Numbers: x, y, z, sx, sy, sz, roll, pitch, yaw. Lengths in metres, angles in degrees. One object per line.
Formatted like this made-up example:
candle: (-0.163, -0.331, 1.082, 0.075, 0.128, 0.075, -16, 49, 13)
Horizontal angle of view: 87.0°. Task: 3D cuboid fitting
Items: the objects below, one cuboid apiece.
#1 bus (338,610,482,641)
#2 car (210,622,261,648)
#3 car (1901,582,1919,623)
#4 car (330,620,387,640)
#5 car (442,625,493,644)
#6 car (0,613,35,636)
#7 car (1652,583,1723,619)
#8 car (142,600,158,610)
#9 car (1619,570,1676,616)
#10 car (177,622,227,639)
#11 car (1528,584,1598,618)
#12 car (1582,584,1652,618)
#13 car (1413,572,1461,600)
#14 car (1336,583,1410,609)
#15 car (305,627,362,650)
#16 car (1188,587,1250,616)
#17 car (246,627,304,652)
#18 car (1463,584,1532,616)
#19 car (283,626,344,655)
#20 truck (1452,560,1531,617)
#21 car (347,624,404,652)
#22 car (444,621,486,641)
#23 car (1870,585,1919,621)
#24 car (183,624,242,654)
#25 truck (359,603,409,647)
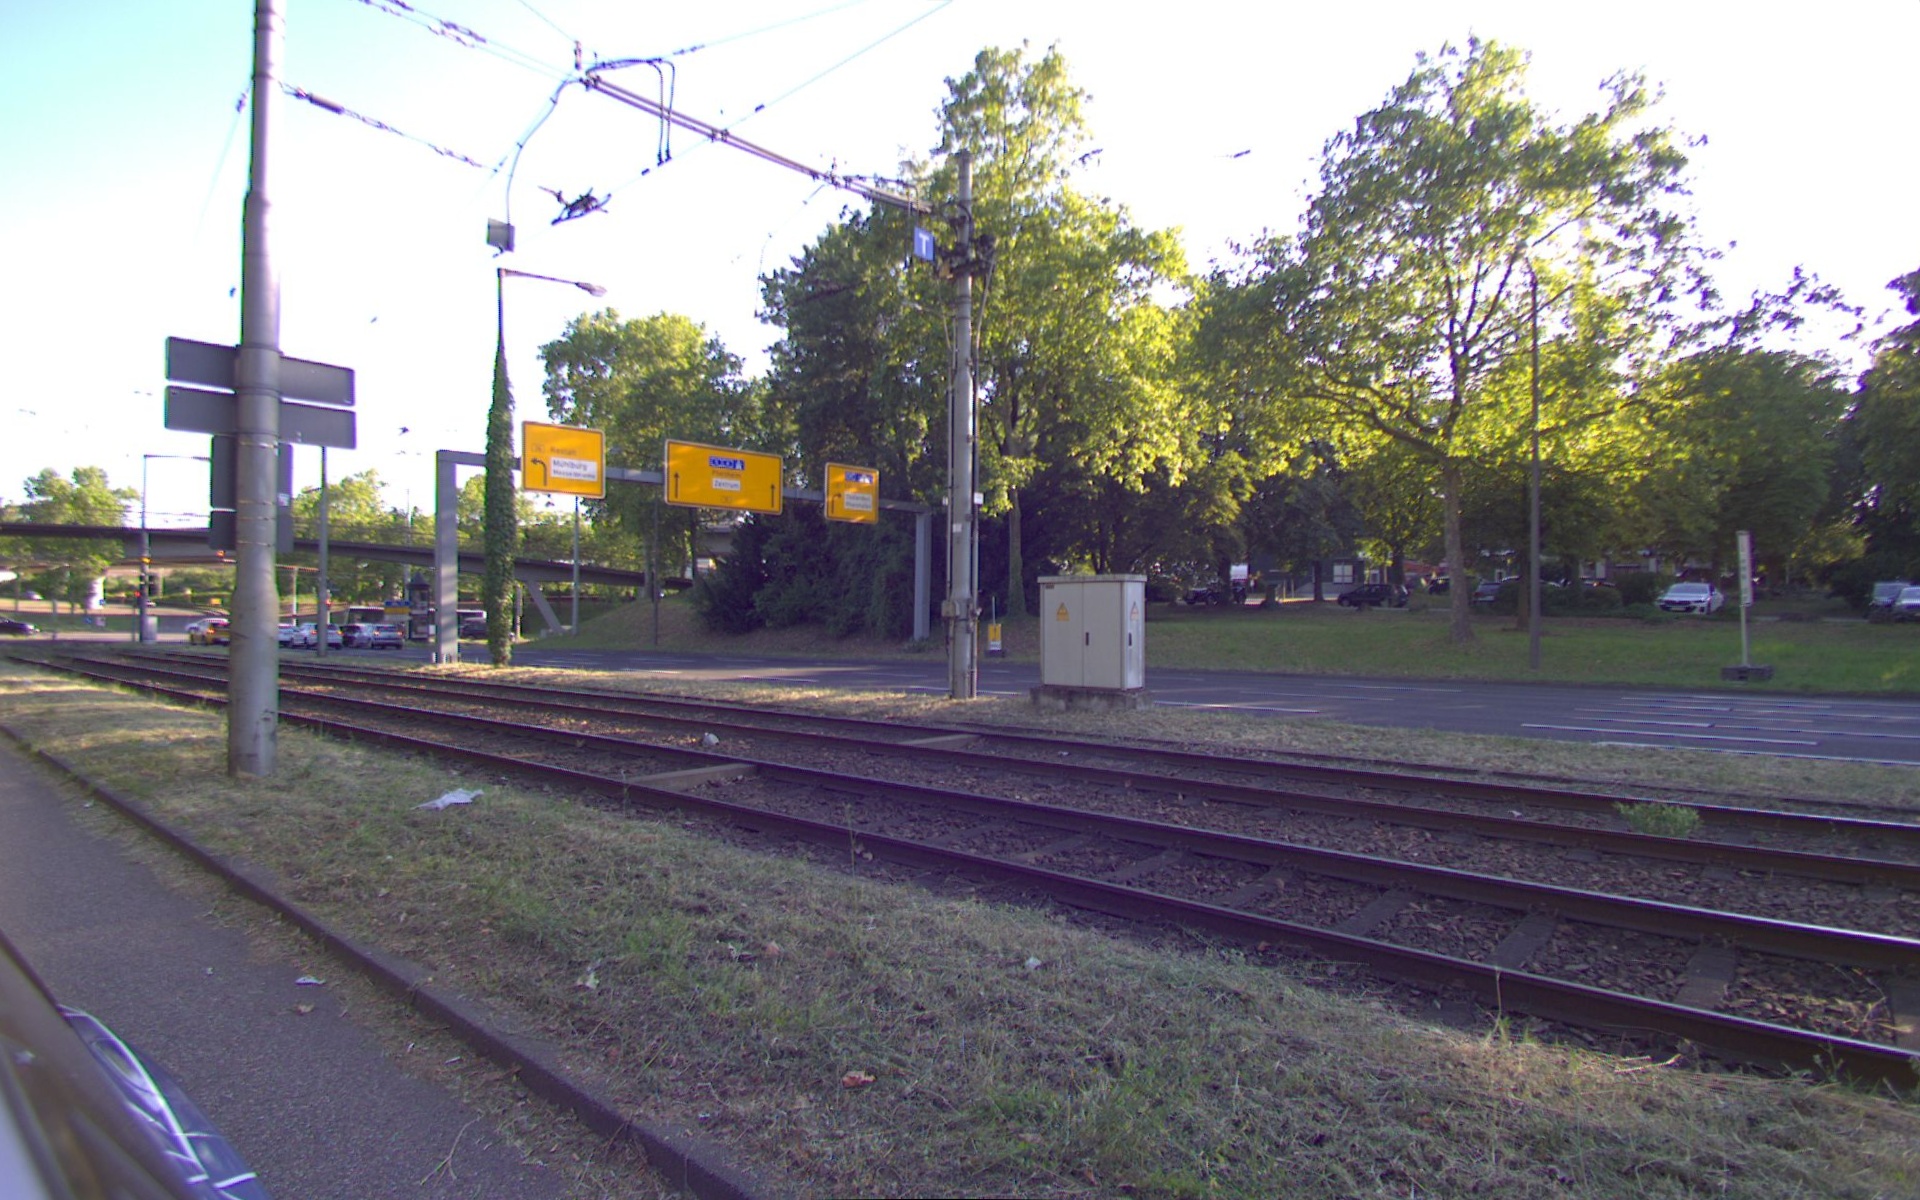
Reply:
bus: (-56.958, 2.548, 105.277, 12.965, 2.884, 2.425, -1, 0, -26)
car: (-45.854, 2.189, 64.042, 4.228, 1.561, 1.892, -1, -2, 44)
car: (37.567, 0.060, 38.899, 1.942, 1.521, 4.039, 0, 0, 44)
car: (-49.158, 2.469, 82.744, 3.960, 1.504, 1.628, -1, 0, -29)
car: (-43.449, 3.041, 89.250, 3.945, 1.504, 1.701, -1, 0, -30)
car: (-70.546, 1.814, 74.113, 3.934, 1.668, 1.789, -1, 0, -36)
car: (31.548, 0.026, 43.850, 1.942, 1.521, 4.039, 0, 0, 44)
car: (-136.510, 0.824, 170.476, 1.806, 1.630, 3.986, -1, 0, -43)
car: (36.871, -0.375, 54.245, 2.161, 2.320, 4.348, 0, 0, 40)
car: (-72.630, 2.938, 97.036, 3.593, 1.523, 1.668, -1, 0, -30)
car: (28.411, 0.038, 47.662, 1.942, 1.521, 4.039, 0, 0, 44)
car: (30.021, 0.029, 46.225, 1.942, 1.521, 4.039, 0, 0, 44)
car: (33.540, -0.968, 71.067, 2.290, 1.864, 5.214, -1, 1, 34)
car: (24.347, -0.269, 59.721, 3.726, 1.474, 1.651, 0, 1, 44)
car: (-39.779, 2.425, 64.228, 4.224, 1.435, 1.844, -1, -1, 40)
car: (15.380, 0.082, 59.961, 1.791, 1.657, 3.942, -1, -1, 44)
car: (-40.590, 2.313, 59.954, 4.226, 1.435, 1.893, -1, -1, 42)
car: (26.156, -0.022, 49.191, 1.942, 1.521, 4.039, 0, 0, 44)
car: (-35.756, 2.212, 55.955, 3.997, 1.556, 1.744, -1, -1, 40)
truck: (31.728, -0.664, 60.290, 2.503, 3.191, 6.137, 0, 0, 45)
car: (-34.807, 2.245, 60.259, 3.998, 1.556, 1.789, -1, -1, 41)
car: (-50.577, 3.184, 103.391, 3.748, 1.872, 1.682, -1, 0, -30)
car: (43.955, 0.121, 47.233, 3.998, 1.628, 1.864, -1, 0, -43)
car: (-40.819, 2.129, 55.254, 3.997, 1.556, 1.744, -1, -1, 40)
truck: (-40.320, 1.748, 70.767, 2.248, 2.901, 6.895, 0, -1, -37)
